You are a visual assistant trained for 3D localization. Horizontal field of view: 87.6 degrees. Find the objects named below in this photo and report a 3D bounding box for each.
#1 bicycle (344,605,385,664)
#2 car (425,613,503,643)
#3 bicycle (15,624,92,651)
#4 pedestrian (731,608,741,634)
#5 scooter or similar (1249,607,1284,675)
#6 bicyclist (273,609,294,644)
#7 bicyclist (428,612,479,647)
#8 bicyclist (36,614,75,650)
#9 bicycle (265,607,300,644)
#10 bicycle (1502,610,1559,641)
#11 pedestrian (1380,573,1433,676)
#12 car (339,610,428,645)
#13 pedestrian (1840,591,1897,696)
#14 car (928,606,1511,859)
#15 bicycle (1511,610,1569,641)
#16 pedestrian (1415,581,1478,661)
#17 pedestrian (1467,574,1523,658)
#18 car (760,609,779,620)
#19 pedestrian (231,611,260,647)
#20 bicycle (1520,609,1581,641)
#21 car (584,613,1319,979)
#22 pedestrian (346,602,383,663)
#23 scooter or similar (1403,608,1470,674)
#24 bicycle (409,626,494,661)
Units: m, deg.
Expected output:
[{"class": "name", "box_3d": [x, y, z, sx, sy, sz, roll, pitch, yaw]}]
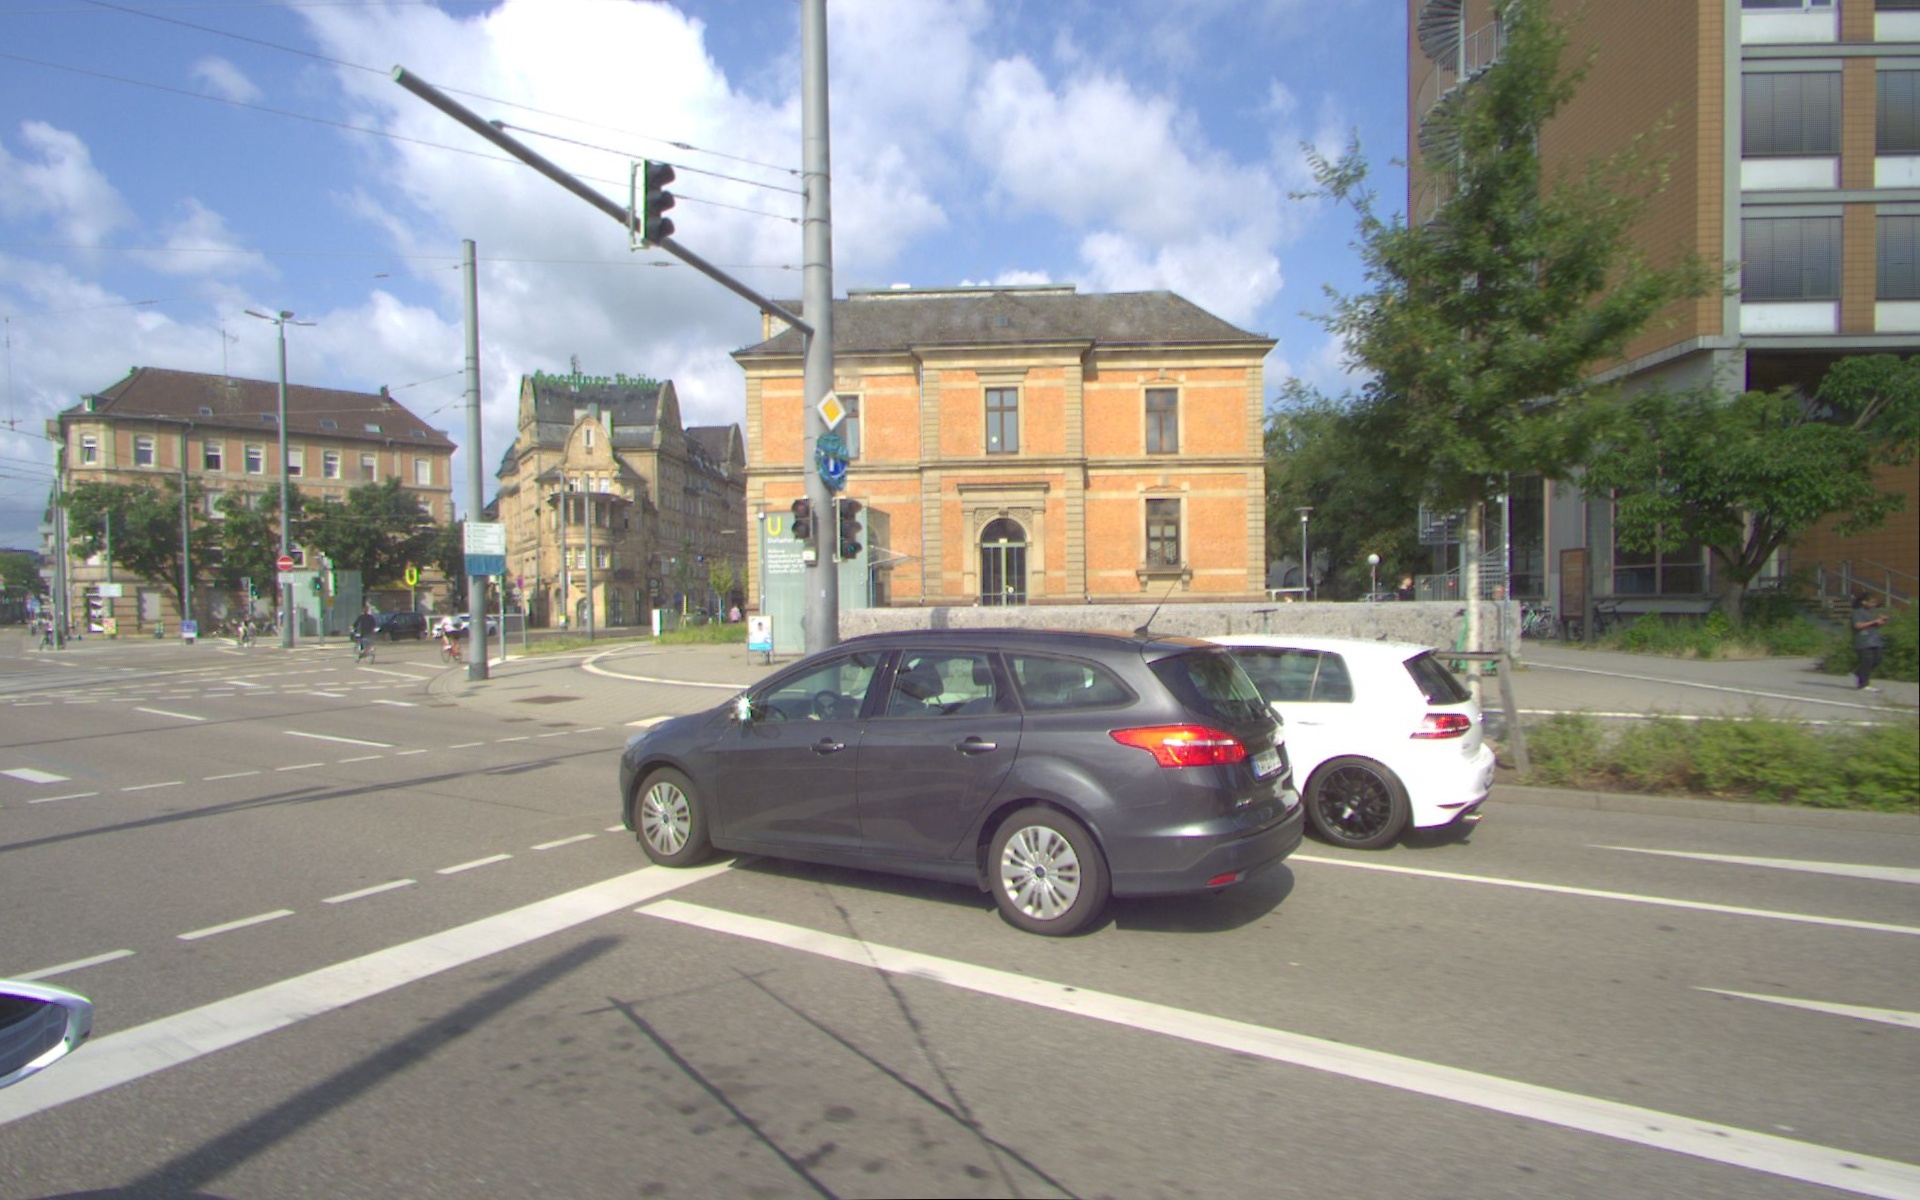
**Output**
[{"class": "bicycle", "box_3d": [-18.537, 1.072, 31.145, 0.995, 1.747, 2.455, 1, -2, -32]}, {"class": "car", "box_3d": [-29.482, 1.655, 59.659, 1.961, 1.617, 4.683, 0, 1, 5]}, {"class": "bicycle", "box_3d": [-44.234, 1.815, 48.908, 0.886, 1.186, 2.672, 0, 0, 23]}, {"class": "pedestrian", "box_3d": [-13.262, 1.245, 59.229, 0.497, 1.525, 0.499, -1, 0, -2]}, {"class": "scooter or similar", "box_3d": [5.789, 0.755, 18.940, 0.395, 1.213, 1.186, -1, 1, 6]}, {"class": "bicyclist", "box_3d": [-33.050, 1.275, 48.911, 0.646, 1.693, 0.571, 0, 0, 29]}, {"class": "bicyclist", "box_3d": [-16.289, 0.970, 32.190, 1.198, 1.040, 0.989, -4, -4, 31]}, {"class": "bicyclist", "box_3d": [-44.149, 1.552, 48.873, 0.773, 1.680, 1.194, 0, 1, 23]}, {"class": "bicycle", "box_3d": [-33.108, 1.236, 48.946, 1.612, 1.801, 0.728, -1, 0, 29]}, {"class": "bicycle", "box_3d": [18.077, 0.802, 31.746, 1.520, 0.917, 0.459, -1, 0, 5]}, {"class": "pedestrian", "box_3d": [9.100, 0.492, 20.430, 0.792, 2.041, 0.724, -2, 2, 9]}, {"class": "car", "box_3d": [-30.455, 1.480, 53.085, 1.961, 1.761, 4.343, 0, -2, 5]}, {"class": "pedestrian", "box_3d": [13.759, 0.648, 15.176, 0.573, 1.541, 0.476, -1, 2, 36]}, {"class": "car", "box_3d": [1.950, 0.866, 8.008, 4.172, 1.464, 1.676, 1, -2, 33]}, {"class": "bicycle", "box_3d": [18.014, 0.782, 31.116, 1.520, 0.917, 0.459, -1, 0, 5]}, {"class": "pedestrian", "box_3d": [10.169, 0.417, 20.956, 0.753, 1.610, 0.934, -3, 4, -28]}, {"class": "pedestrian", "box_3d": [10.570, 0.305, 19.811, 0.750, 1.610, 0.772, -1, 3, 10]}, {"class": "car", "box_3d": [-28.056, 2.169, 147.326, 1.815, 1.559, 3.822, -1, 0, 3]}, {"class": "pedestrian", "box_3d": [-36.329, 1.487, 50.944, 0.871, 1.833, 0.866, 0, -1, 20]}, {"class": "bicycle", "box_3d": [17.960, 0.760, 30.475, 1.520, 0.917, 0.459, -1, 0, 5]}, {"class": "car", "box_3d": [-0.172, 0.856, 6.093, 4.193, 1.548, 1.764, 0, 0, 31]}, {"class": "pedestrian", "box_3d": [-18.527, 1.012, 31.148, 0.982, 1.865, 0.990, 1, -1, -32]}, {"class": "scooter or similar", "box_3d": [8.809, 0.738, 18.541, 0.396, 1.146, 1.184, -1, 1, -19]}, {"class": "bicycle", "box_3d": [-16.398, 1.416, 32.242, 3.065, 1.040, 0.991, -3, -4, 32]}]
